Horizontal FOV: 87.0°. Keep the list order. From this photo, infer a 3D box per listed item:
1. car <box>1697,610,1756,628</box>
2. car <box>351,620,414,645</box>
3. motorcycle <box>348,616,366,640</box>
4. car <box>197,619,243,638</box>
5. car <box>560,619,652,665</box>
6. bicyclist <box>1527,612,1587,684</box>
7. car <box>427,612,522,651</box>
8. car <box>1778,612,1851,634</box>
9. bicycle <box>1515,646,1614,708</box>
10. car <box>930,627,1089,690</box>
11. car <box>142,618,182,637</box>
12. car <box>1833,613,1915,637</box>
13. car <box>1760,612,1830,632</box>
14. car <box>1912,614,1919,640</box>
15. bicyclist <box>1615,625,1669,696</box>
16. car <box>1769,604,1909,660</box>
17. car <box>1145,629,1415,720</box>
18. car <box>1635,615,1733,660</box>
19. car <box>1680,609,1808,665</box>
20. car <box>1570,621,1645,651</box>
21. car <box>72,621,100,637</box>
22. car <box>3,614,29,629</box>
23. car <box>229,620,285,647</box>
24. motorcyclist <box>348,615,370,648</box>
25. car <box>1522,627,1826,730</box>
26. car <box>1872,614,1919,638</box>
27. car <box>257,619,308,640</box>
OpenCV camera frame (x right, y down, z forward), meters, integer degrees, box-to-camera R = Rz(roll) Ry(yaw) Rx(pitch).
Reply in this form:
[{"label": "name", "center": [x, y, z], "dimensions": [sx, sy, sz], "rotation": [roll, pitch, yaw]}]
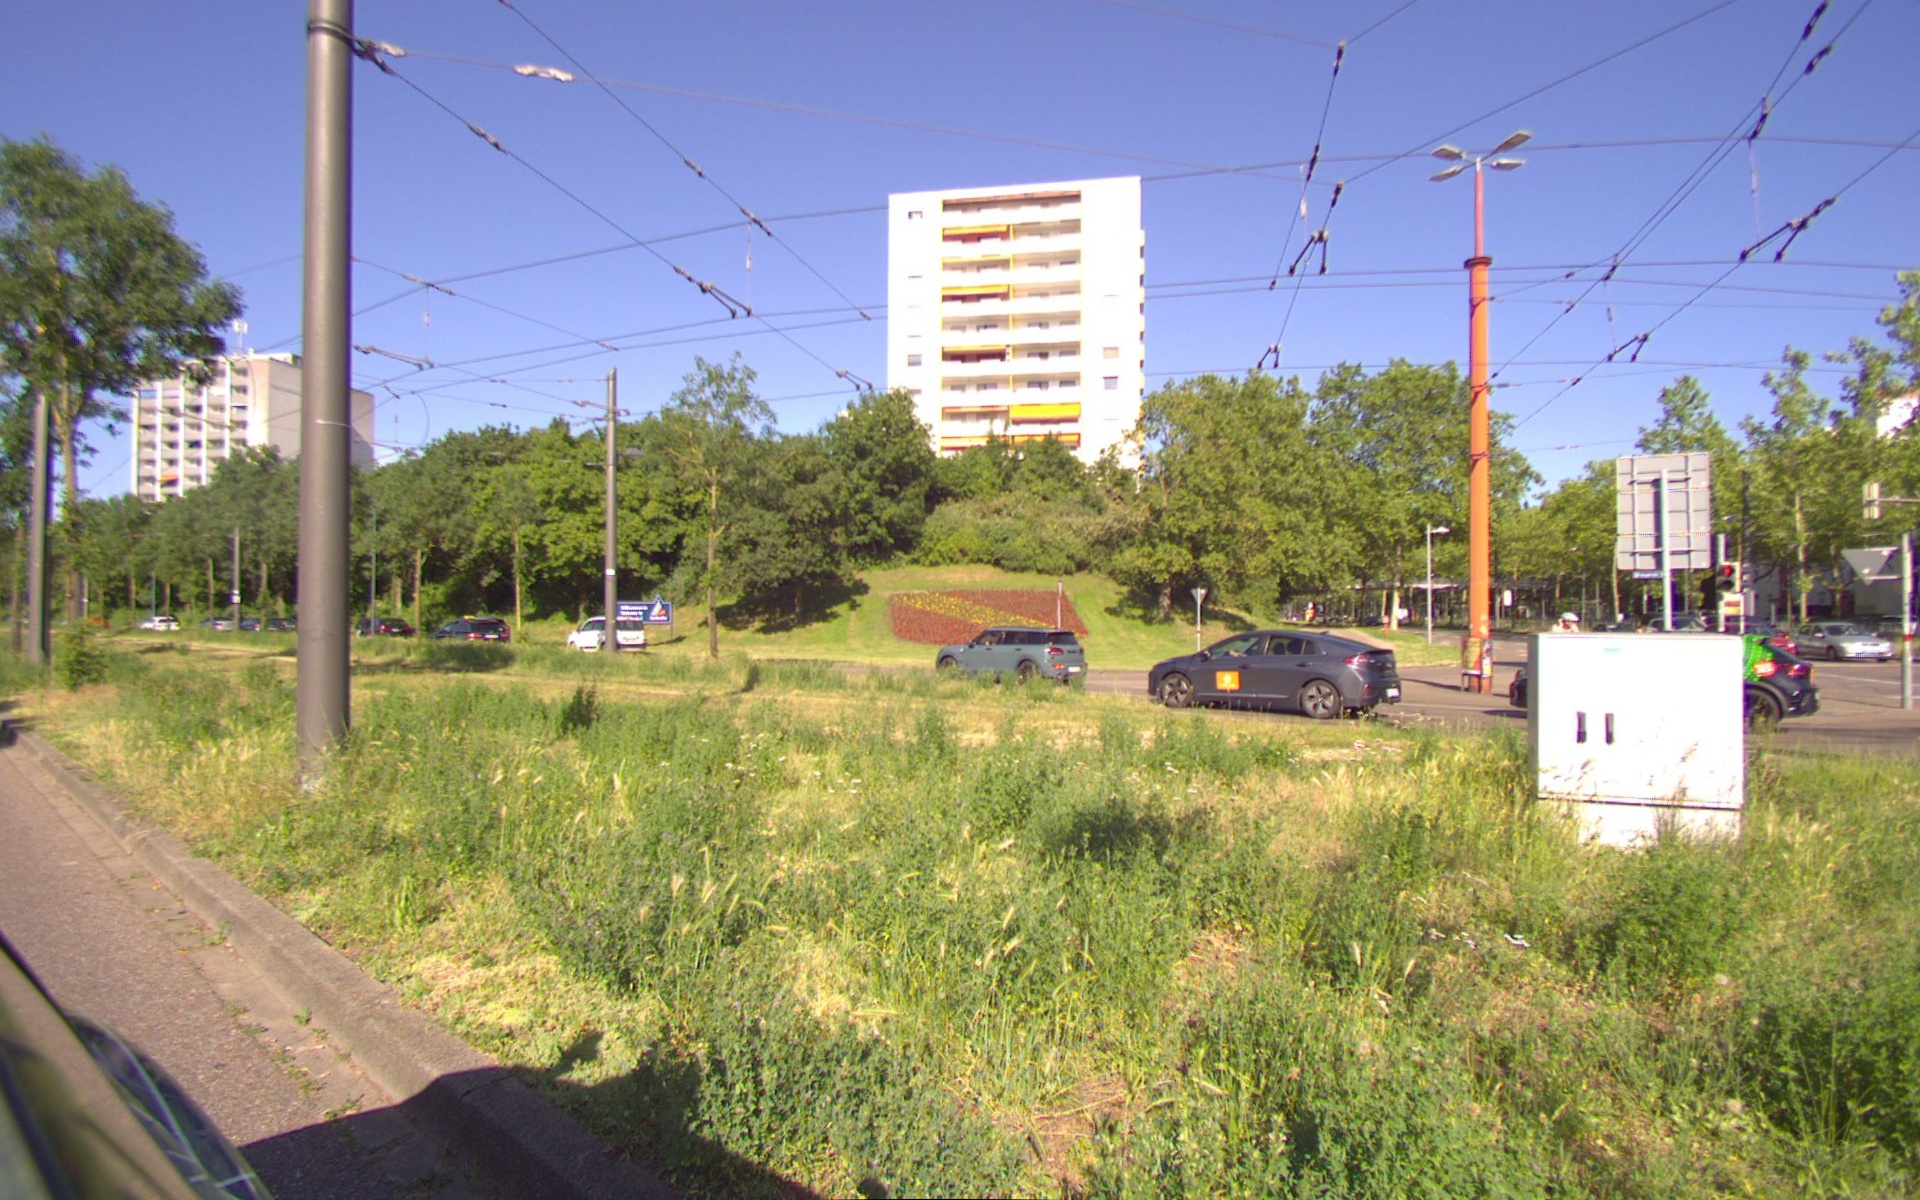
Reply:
[{"label": "car", "center": [71.663, 1.769, 94.704], "dimensions": [1.864, 1.608, 4.010], "rotation": [0, 0, -34]}, {"label": "car", "center": [-32.222, 1.804, 56.413], "dimensions": [4.030, 1.352, 1.841], "rotation": [-1, -2, 42]}, {"label": "motorcycle", "center": [-29.870, 1.392, 50.144], "dimensions": [0.416, 1.140, 2.098], "rotation": [0, 0, -41]}, {"label": "car", "center": [-58.148, 2.201, 79.495], "dimensions": [4.693, 1.443, 1.972], "rotation": [-1, -2, 42]}, {"label": "car", "center": [-14.299, 1.656, 40.775], "dimensions": [4.060, 1.720, 1.781], "rotation": [-1, -2, 43]}, {"label": "bicyclist", "center": [12.138, 0.964, 20.601], "dimensions": [0.741, 1.441, 0.757], "rotation": [-1, 0, -1]}, {"label": "car", "center": [-19.999, 1.243, 41.592], "dimensions": [4.603, 1.496, 1.856], "rotation": [-1, 0, 41]}, {"label": "car", "center": [67.077, 1.766, 79.510], "dimensions": [1.864, 1.608, 4.010], "rotation": [0, 0, -34]}, {"label": "bicycle", "center": [12.163, 1.523, 20.458], "dimensions": [0.467, 1.089, 2.362], "rotation": [-1, 0, -3]}, {"label": "car", "center": [1.181, 1.417, 25.699], "dimensions": [4.141, 1.398, 1.414], "rotation": [-1, 0, 44]}, {"label": "car", "center": [-61.208, 2.117, 77.595], "dimensions": [4.642, 1.433, 1.685], "rotation": [-1, -2, 42]}, {"label": "car", "center": [65.539, 1.760, 72.616], "dimensions": [1.864, 1.608, 4.010], "rotation": [0, 0, -34]}, {"label": "car", "center": [68.304, 1.764, 82.835], "dimensions": [1.864, 1.608, 4.010], "rotation": [0, 0, -34]}, {"label": "car", "center": [64.147, 1.750, 65.011], "dimensions": [1.864, 1.608, 4.010], "rotation": [0, 0, -34]}, {"label": "bicyclist", "center": [13.312, 1.169, 19.773], "dimensions": [0.541, 1.333, 0.700], "rotation": [-1, 0, -1]}, {"label": "car", "center": [32.031, 1.123, 37.046], "dimensions": [1.979, 1.915, 4.259], "rotation": [-1, 0, 11]}, {"label": "car", "center": [5.484, 1.205, 17.696], "dimensions": [4.261, 1.388, 1.531], "rotation": [-1, -2, 42]}, {"label": "car", "center": [30.654, 1.570, 42.981], "dimensions": [1.893, 1.763, 3.985], "rotation": [-1, 0, 11]}, {"label": "car", "center": [28.678, 1.314, 37.215], "dimensions": [1.979, 1.915, 4.259], "rotation": [-1, 0, 11]}, {"label": "car", "center": [31.604, 1.750, 49.539], "dimensions": [1.718, 1.332, 3.985], "rotation": [-1, 0, 11]}, {"label": "car", "center": [-82.102, 2.689, 95.033], "dimensions": [4.183, 1.484, 1.571], "rotation": [-1, -2, 44]}, {"label": "car", "center": [-102.430, 2.318, 109.748], "dimensions": [3.757, 1.620, 1.744], "rotation": [-1, -2, 42]}, {"label": "car", "center": [-42.636, 2.015, 61.351], "dimensions": [4.465, 1.606, 1.971], "rotation": [-1, -2, 44]}, {"label": "motorcyclist", "center": [-29.746, 1.537, 50.098], "dimensions": [0.825, 1.611, 0.641], "rotation": [0, 0, -41]}, {"label": "car", "center": [11.493, 1.189, 16.454], "dimensions": [3.886, 1.444, 1.527], "rotation": [-1, -2, 43]}, {"label": "car", "center": [64.828, 1.754, 68.716], "dimensions": [1.864, 1.608, 4.010], "rotation": [0, 0, -34]}, {"label": "car", "center": [-46.659, 1.994, 69.702], "dimensions": [4.400, 1.384, 1.972], "rotation": [-1, 0, 43]}]
